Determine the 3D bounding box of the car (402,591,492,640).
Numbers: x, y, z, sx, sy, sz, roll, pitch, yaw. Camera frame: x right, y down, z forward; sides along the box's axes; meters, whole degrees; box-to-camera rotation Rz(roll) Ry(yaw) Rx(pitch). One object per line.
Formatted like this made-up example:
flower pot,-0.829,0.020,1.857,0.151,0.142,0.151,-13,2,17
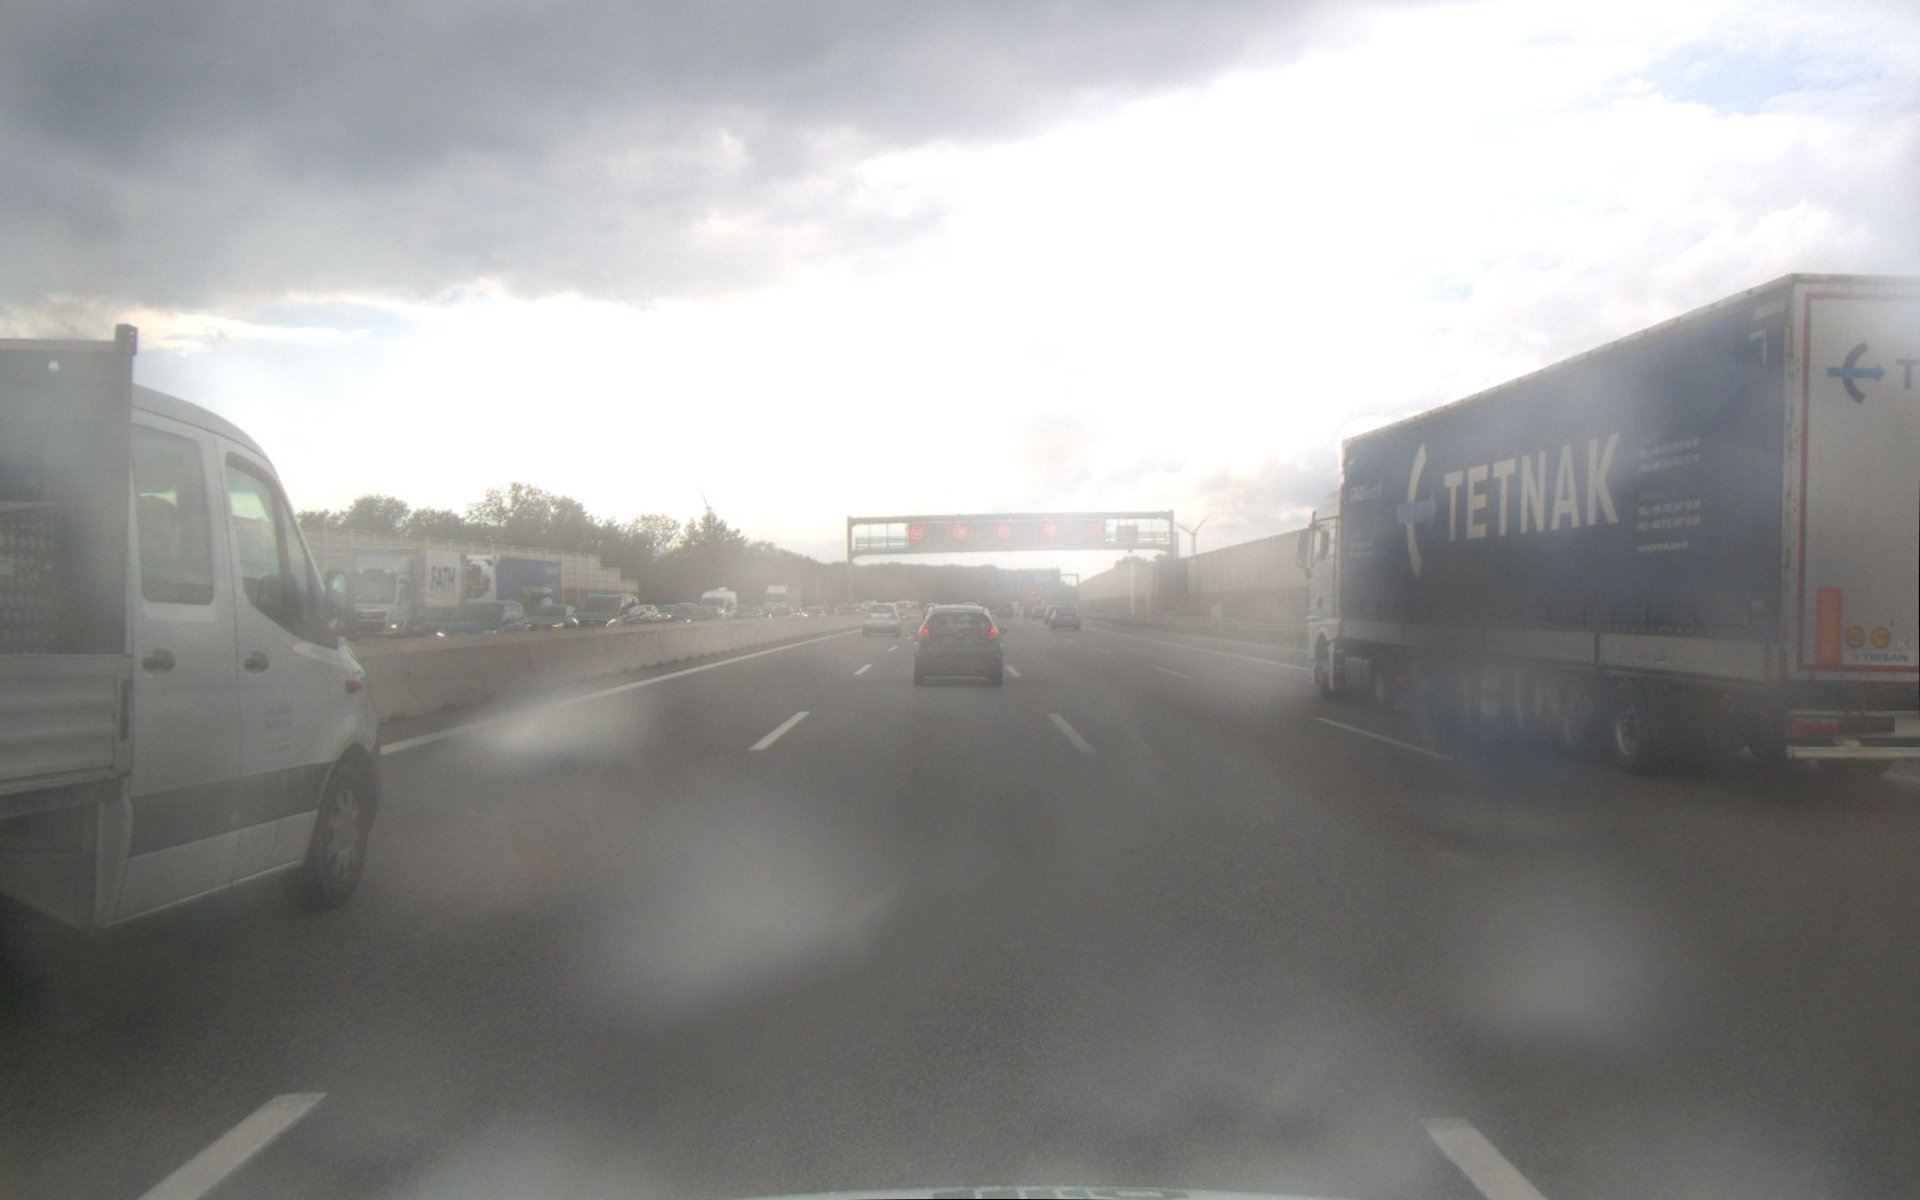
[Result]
car,-18.713,0.535,60.578,1.835,1.729,5.014,0,0,-1

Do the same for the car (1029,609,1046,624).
car,8.651,1.830,185.238,1.843,1.588,4.433,0,-1,2

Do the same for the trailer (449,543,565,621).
trailer,-25.440,-0.915,93.858,2.705,4.102,14.450,0,0,-1

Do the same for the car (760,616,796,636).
car,-13.615,1.944,124.261,2.017,1.517,4.998,0,-1,2

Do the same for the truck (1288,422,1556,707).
truck,7.272,-0.500,26.827,2.689,4.105,5.725,0,0,-1

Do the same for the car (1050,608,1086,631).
car,6.846,1.247,105.287,1.910,1.443,4.231,0,-1,-1

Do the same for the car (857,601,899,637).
car,-3.812,0.862,77.148,1.682,1.652,4.279,0,0,1

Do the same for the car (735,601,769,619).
car,-17.400,0.868,138.484,2.017,1.517,4.998,0,-1,2

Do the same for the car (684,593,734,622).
car,-13.701,0.434,90.467,2.018,1.517,4.996,0,-1,-1

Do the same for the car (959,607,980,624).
car,0.918,1.495,157.741,1.927,1.588,4.433,0,-1,2

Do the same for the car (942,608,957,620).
car,-1.431,1.970,230.494,1.927,1.588,4.433,0,-1,2

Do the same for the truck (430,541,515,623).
truck,-25.335,-0.917,86.194,2.689,4.105,5.725,0,0,0

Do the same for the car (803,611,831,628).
car,-13.108,1.829,151.511,2.017,1.517,4.998,0,-1,2

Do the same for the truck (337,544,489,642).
truck,-21.807,-0.249,66.645,2.640,3.589,9.996,1,0,1

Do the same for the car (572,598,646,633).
car,-13.989,0.583,66.204,1.835,1.322,5.599,0,0,-1

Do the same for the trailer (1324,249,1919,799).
trailer,7.326,-0.531,19.603,2.705,4.102,14.450,0,0,-1

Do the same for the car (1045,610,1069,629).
car,8.223,1.665,140.394,1.844,1.569,4.433,0,-1,1

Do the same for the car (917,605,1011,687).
car,0.027,0.832,31.652,1.682,1.442,4.277,0,0,-1

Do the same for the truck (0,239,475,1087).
truck,-3.998,0.179,6.541,2.260,2.482,7.145,1,0,-2

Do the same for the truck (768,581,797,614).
truck,-22.407,-0.297,209.440,2.910,4.105,5.727,0,0,1

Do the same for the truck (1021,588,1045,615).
truck,10.310,0.277,234.696,3.087,3.665,12.701,1,0,2

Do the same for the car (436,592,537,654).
car,-13.892,0.650,48.753,1.835,1.729,4.221,0,0,-1

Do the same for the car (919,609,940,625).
car,-3.097,1.732,169.538,1.927,1.588,4.433,0,-1,2

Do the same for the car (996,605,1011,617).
car,5.692,1.460,217.279,1.927,1.588,4.433,0,-1,1

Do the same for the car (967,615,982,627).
car,1.956,2.841,224.528,1.927,1.588,4.432,0,-1,0

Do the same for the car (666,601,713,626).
car,-17.320,0.868,106.070,2.017,1.517,4.998,0,-1,2

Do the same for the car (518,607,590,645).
car,-18.097,1.170,73.994,2.018,1.628,4.996,0,-1,0
